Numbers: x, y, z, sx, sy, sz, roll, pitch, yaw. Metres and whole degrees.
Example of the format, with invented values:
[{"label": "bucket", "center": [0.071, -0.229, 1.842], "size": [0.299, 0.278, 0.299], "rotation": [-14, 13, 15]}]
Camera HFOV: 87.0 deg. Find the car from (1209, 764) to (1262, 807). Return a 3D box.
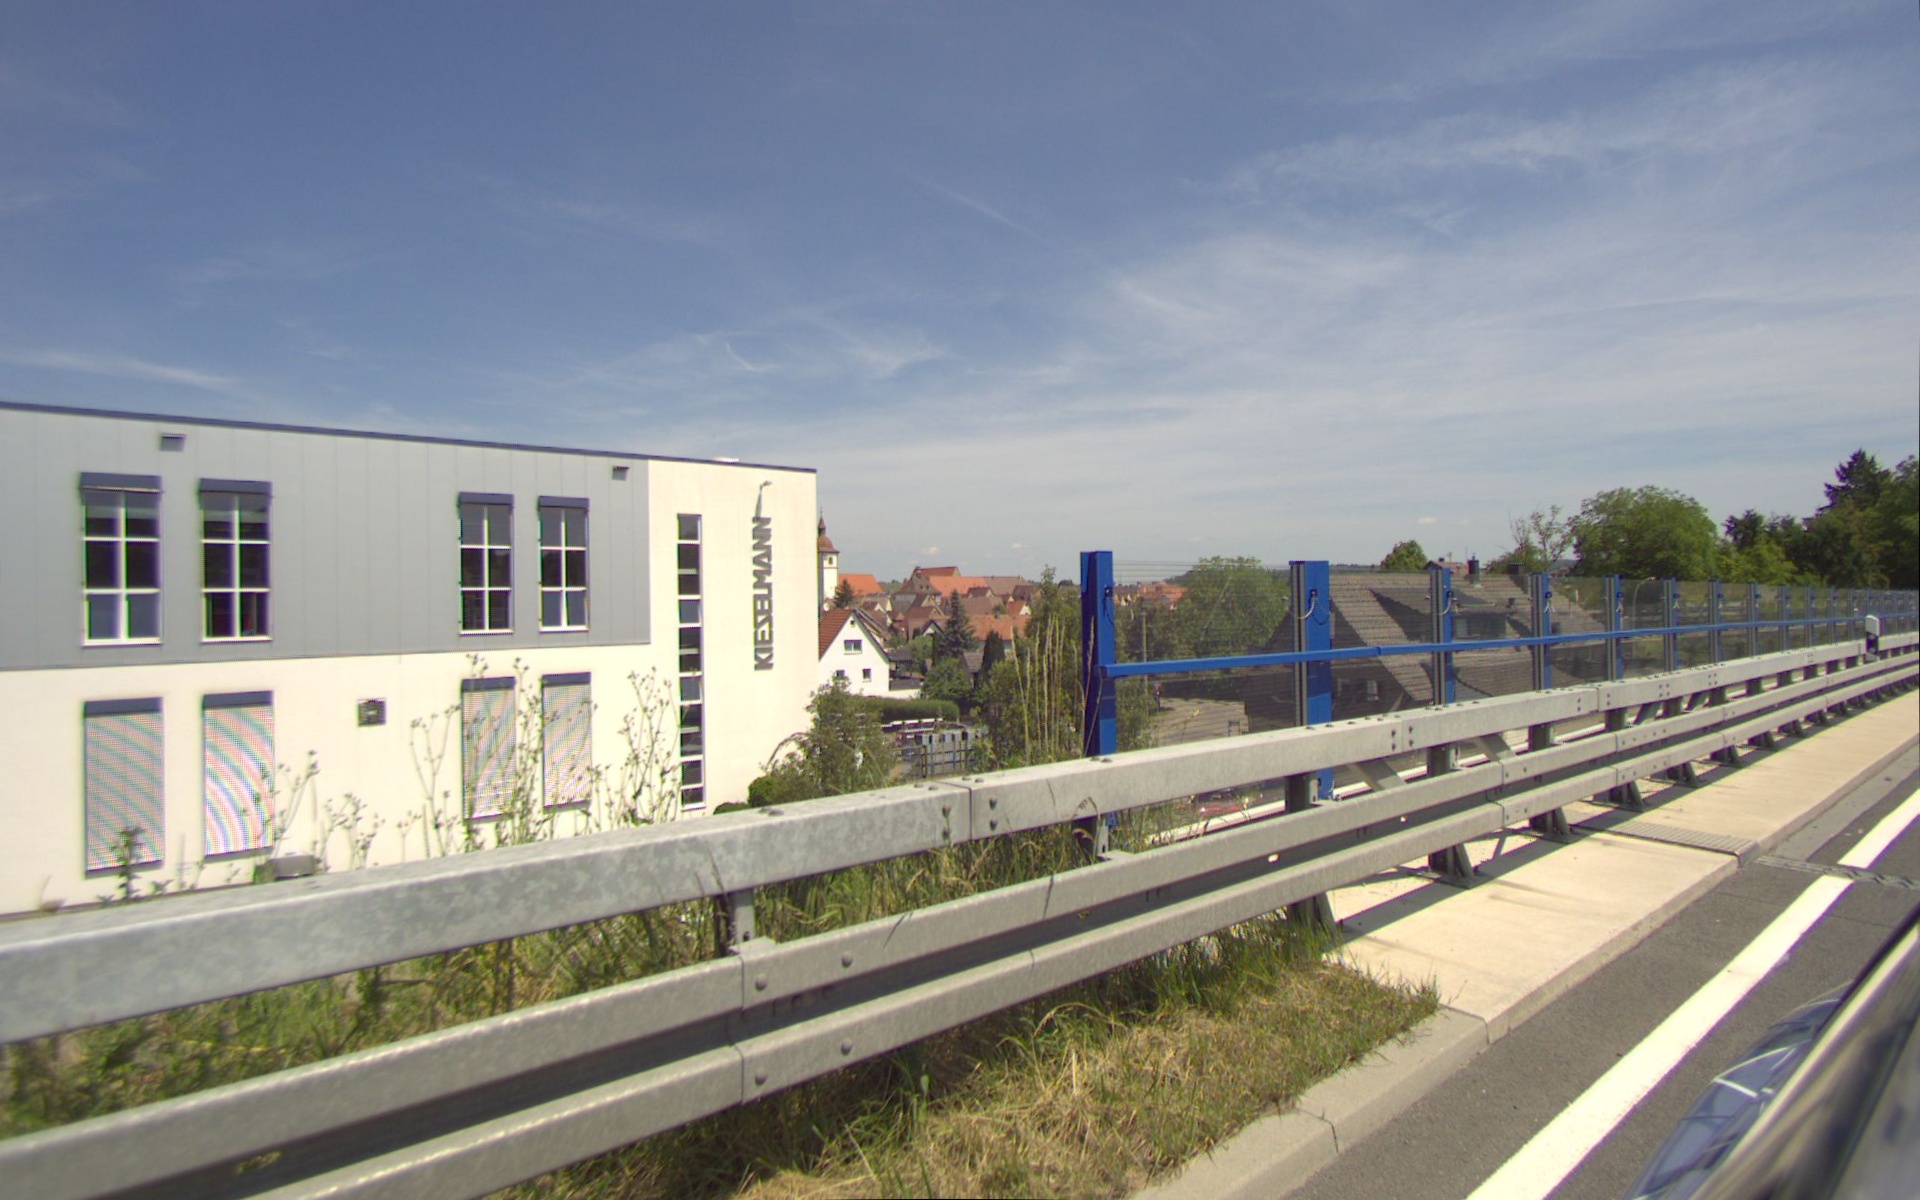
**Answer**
[{"label": "car", "center": [13.020, 8.723, 47.716], "size": [1.708, 1.385, 3.967], "rotation": [-7, -5, 23]}]
